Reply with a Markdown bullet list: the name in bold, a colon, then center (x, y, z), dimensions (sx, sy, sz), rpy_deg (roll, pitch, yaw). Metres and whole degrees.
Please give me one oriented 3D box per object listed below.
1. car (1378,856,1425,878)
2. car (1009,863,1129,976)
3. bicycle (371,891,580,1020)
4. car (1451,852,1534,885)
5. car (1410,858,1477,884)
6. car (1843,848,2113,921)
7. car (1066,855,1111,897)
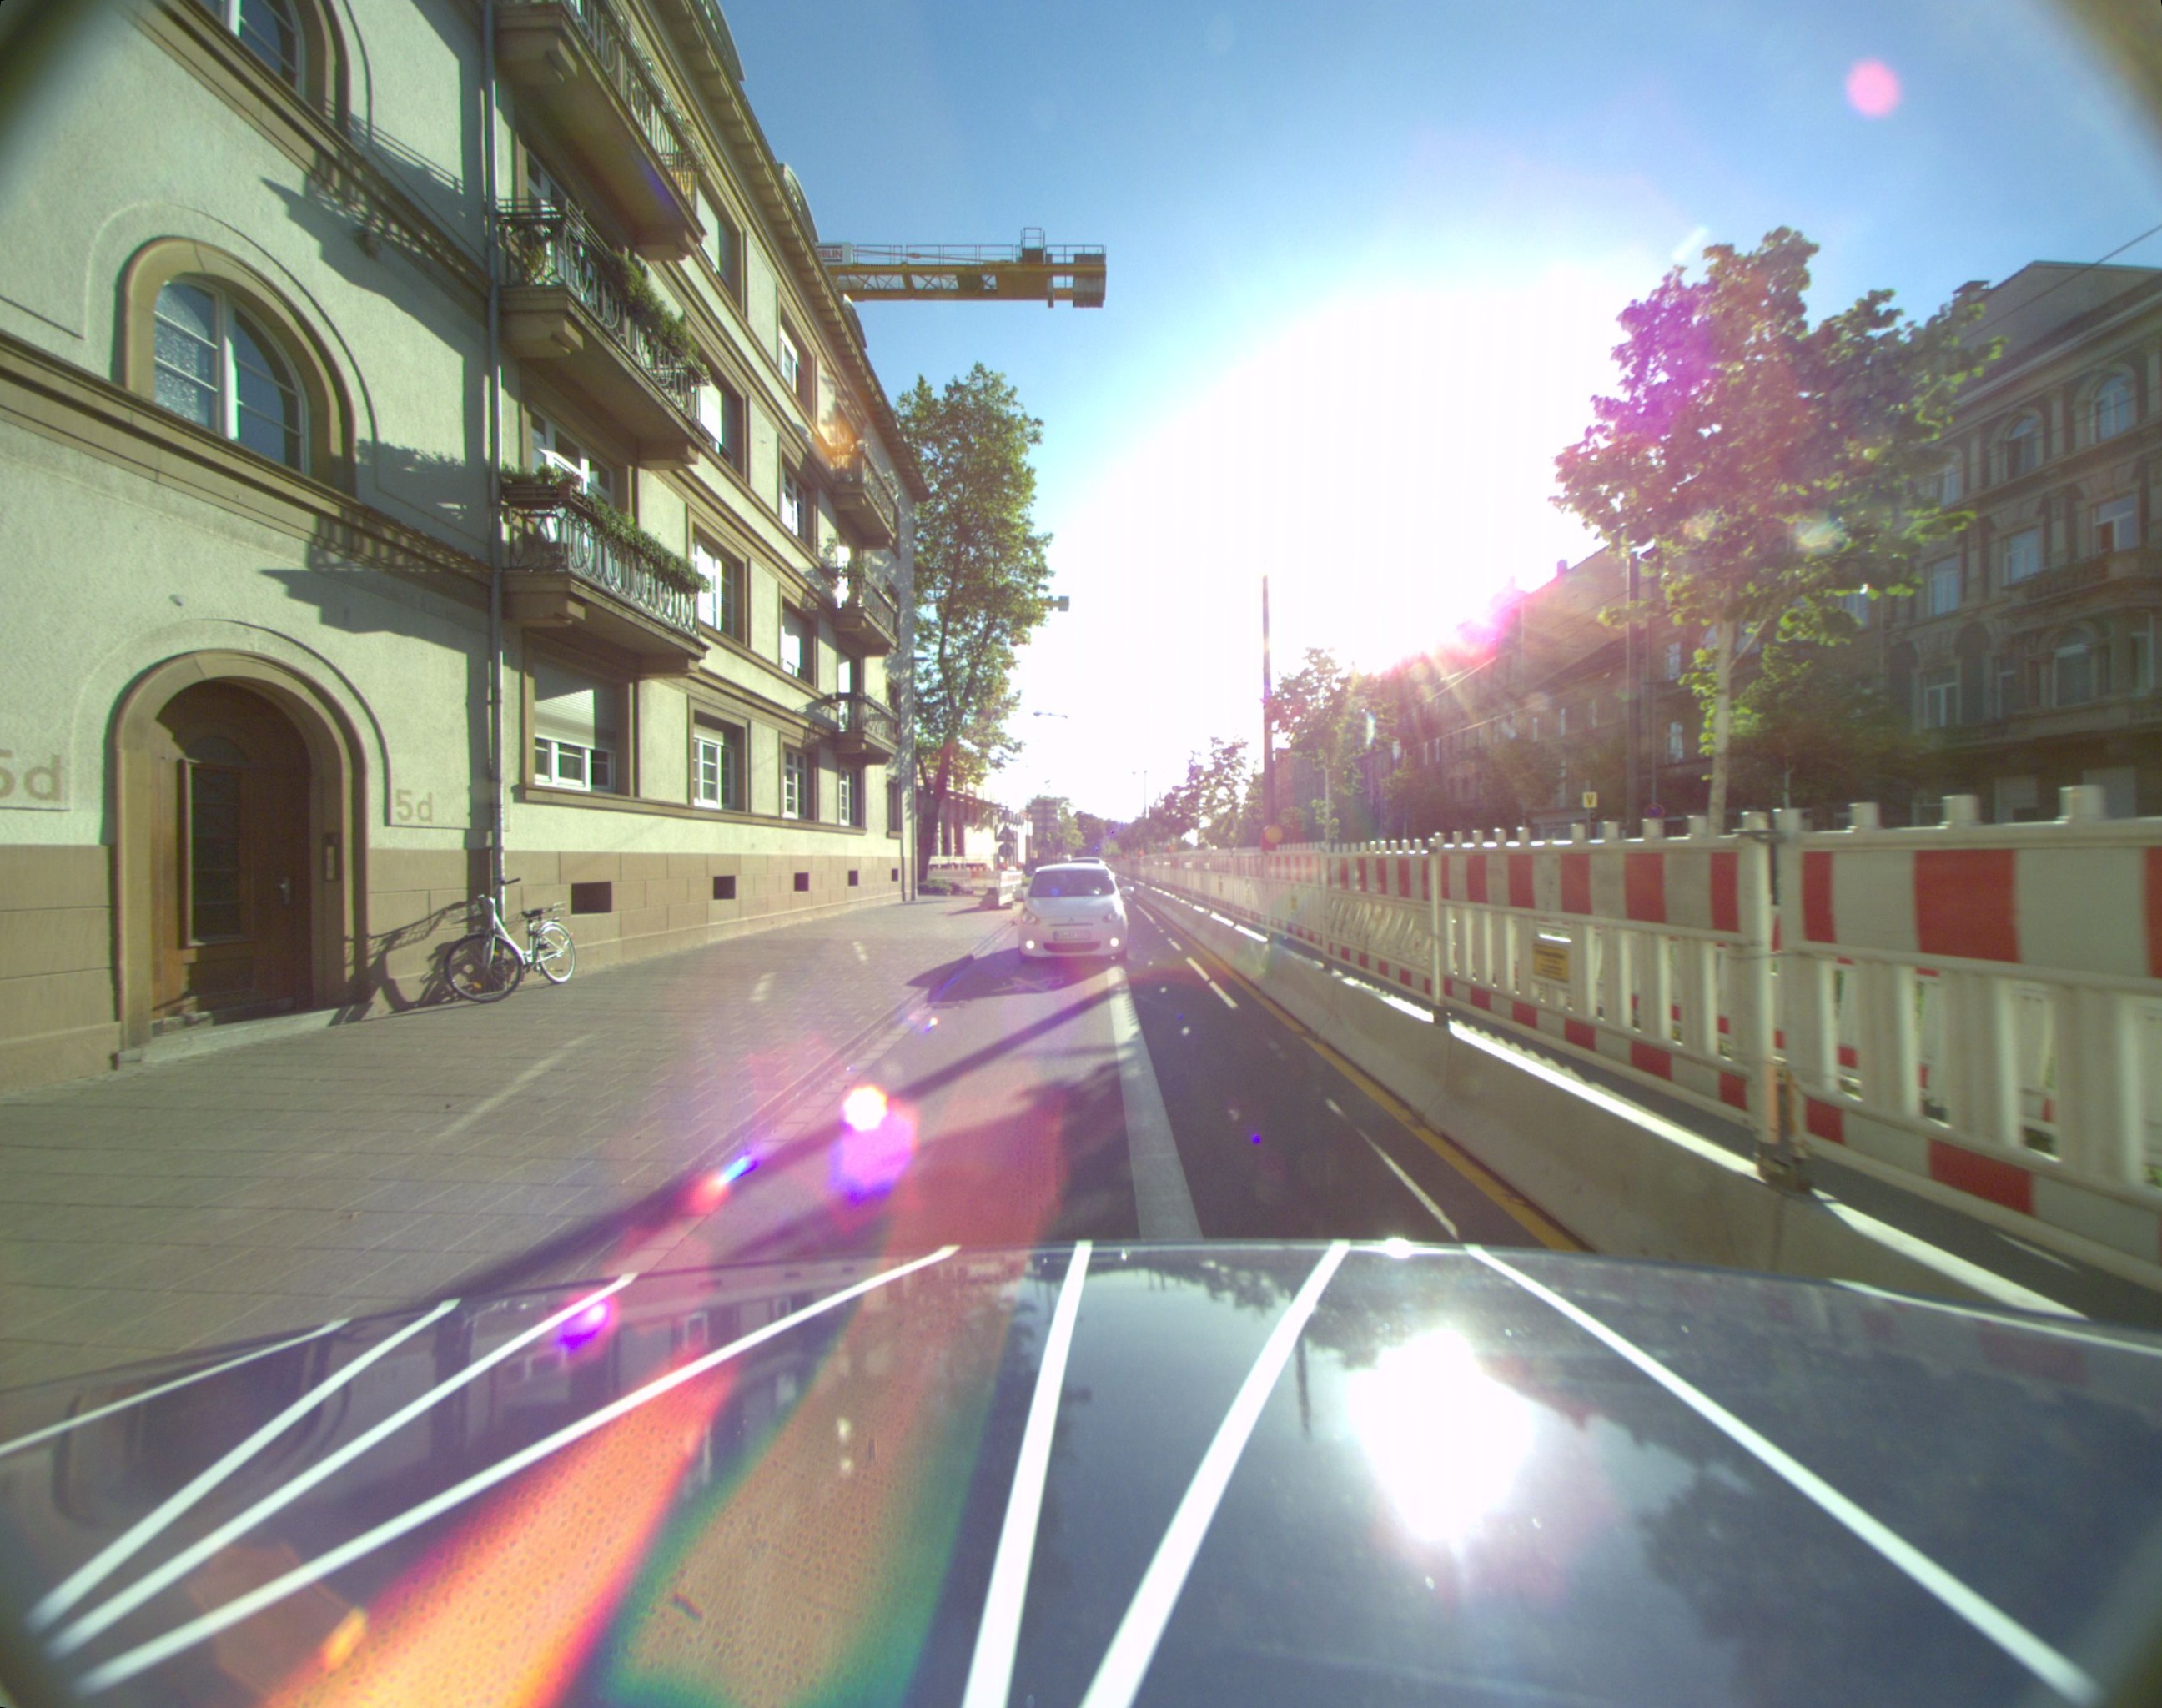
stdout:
- **car**: center (23.539, 0.910, 55.924), dimensions (1.753, 1.470, 4.028), rpy_deg (-3, 0, 1)
- **car**: center (-0.115, 0.968, 13.015), dimensions (1.634, 1.499, 4.351), rpy_deg (-3, 0, 1)
- **bicycle**: center (-6.332, 0.993, 8.130), dimensions (0.419, 1.089, 2.198), rpy_deg (-1, 0, 1)
- **car**: center (23.159, 0.789, 42.965), dimensions (1.998, 1.688, 4.888), rpy_deg (-3, 0, 0)
- **car**: center (23.375, 1.046, 49.240), dimensions (1.998, 1.529, 4.985), rpy_deg (-3, 0, 1)
- **car**: center (23.645, 0.738, 20.381), dimensions (1.943, 1.648, 4.545), rpy_deg (-3, 0, 3)
- **car**: center (0.329, 0.940, 34.231), dimensions (1.899, 1.730, 4.000), rpy_deg (0, 1, 1)
